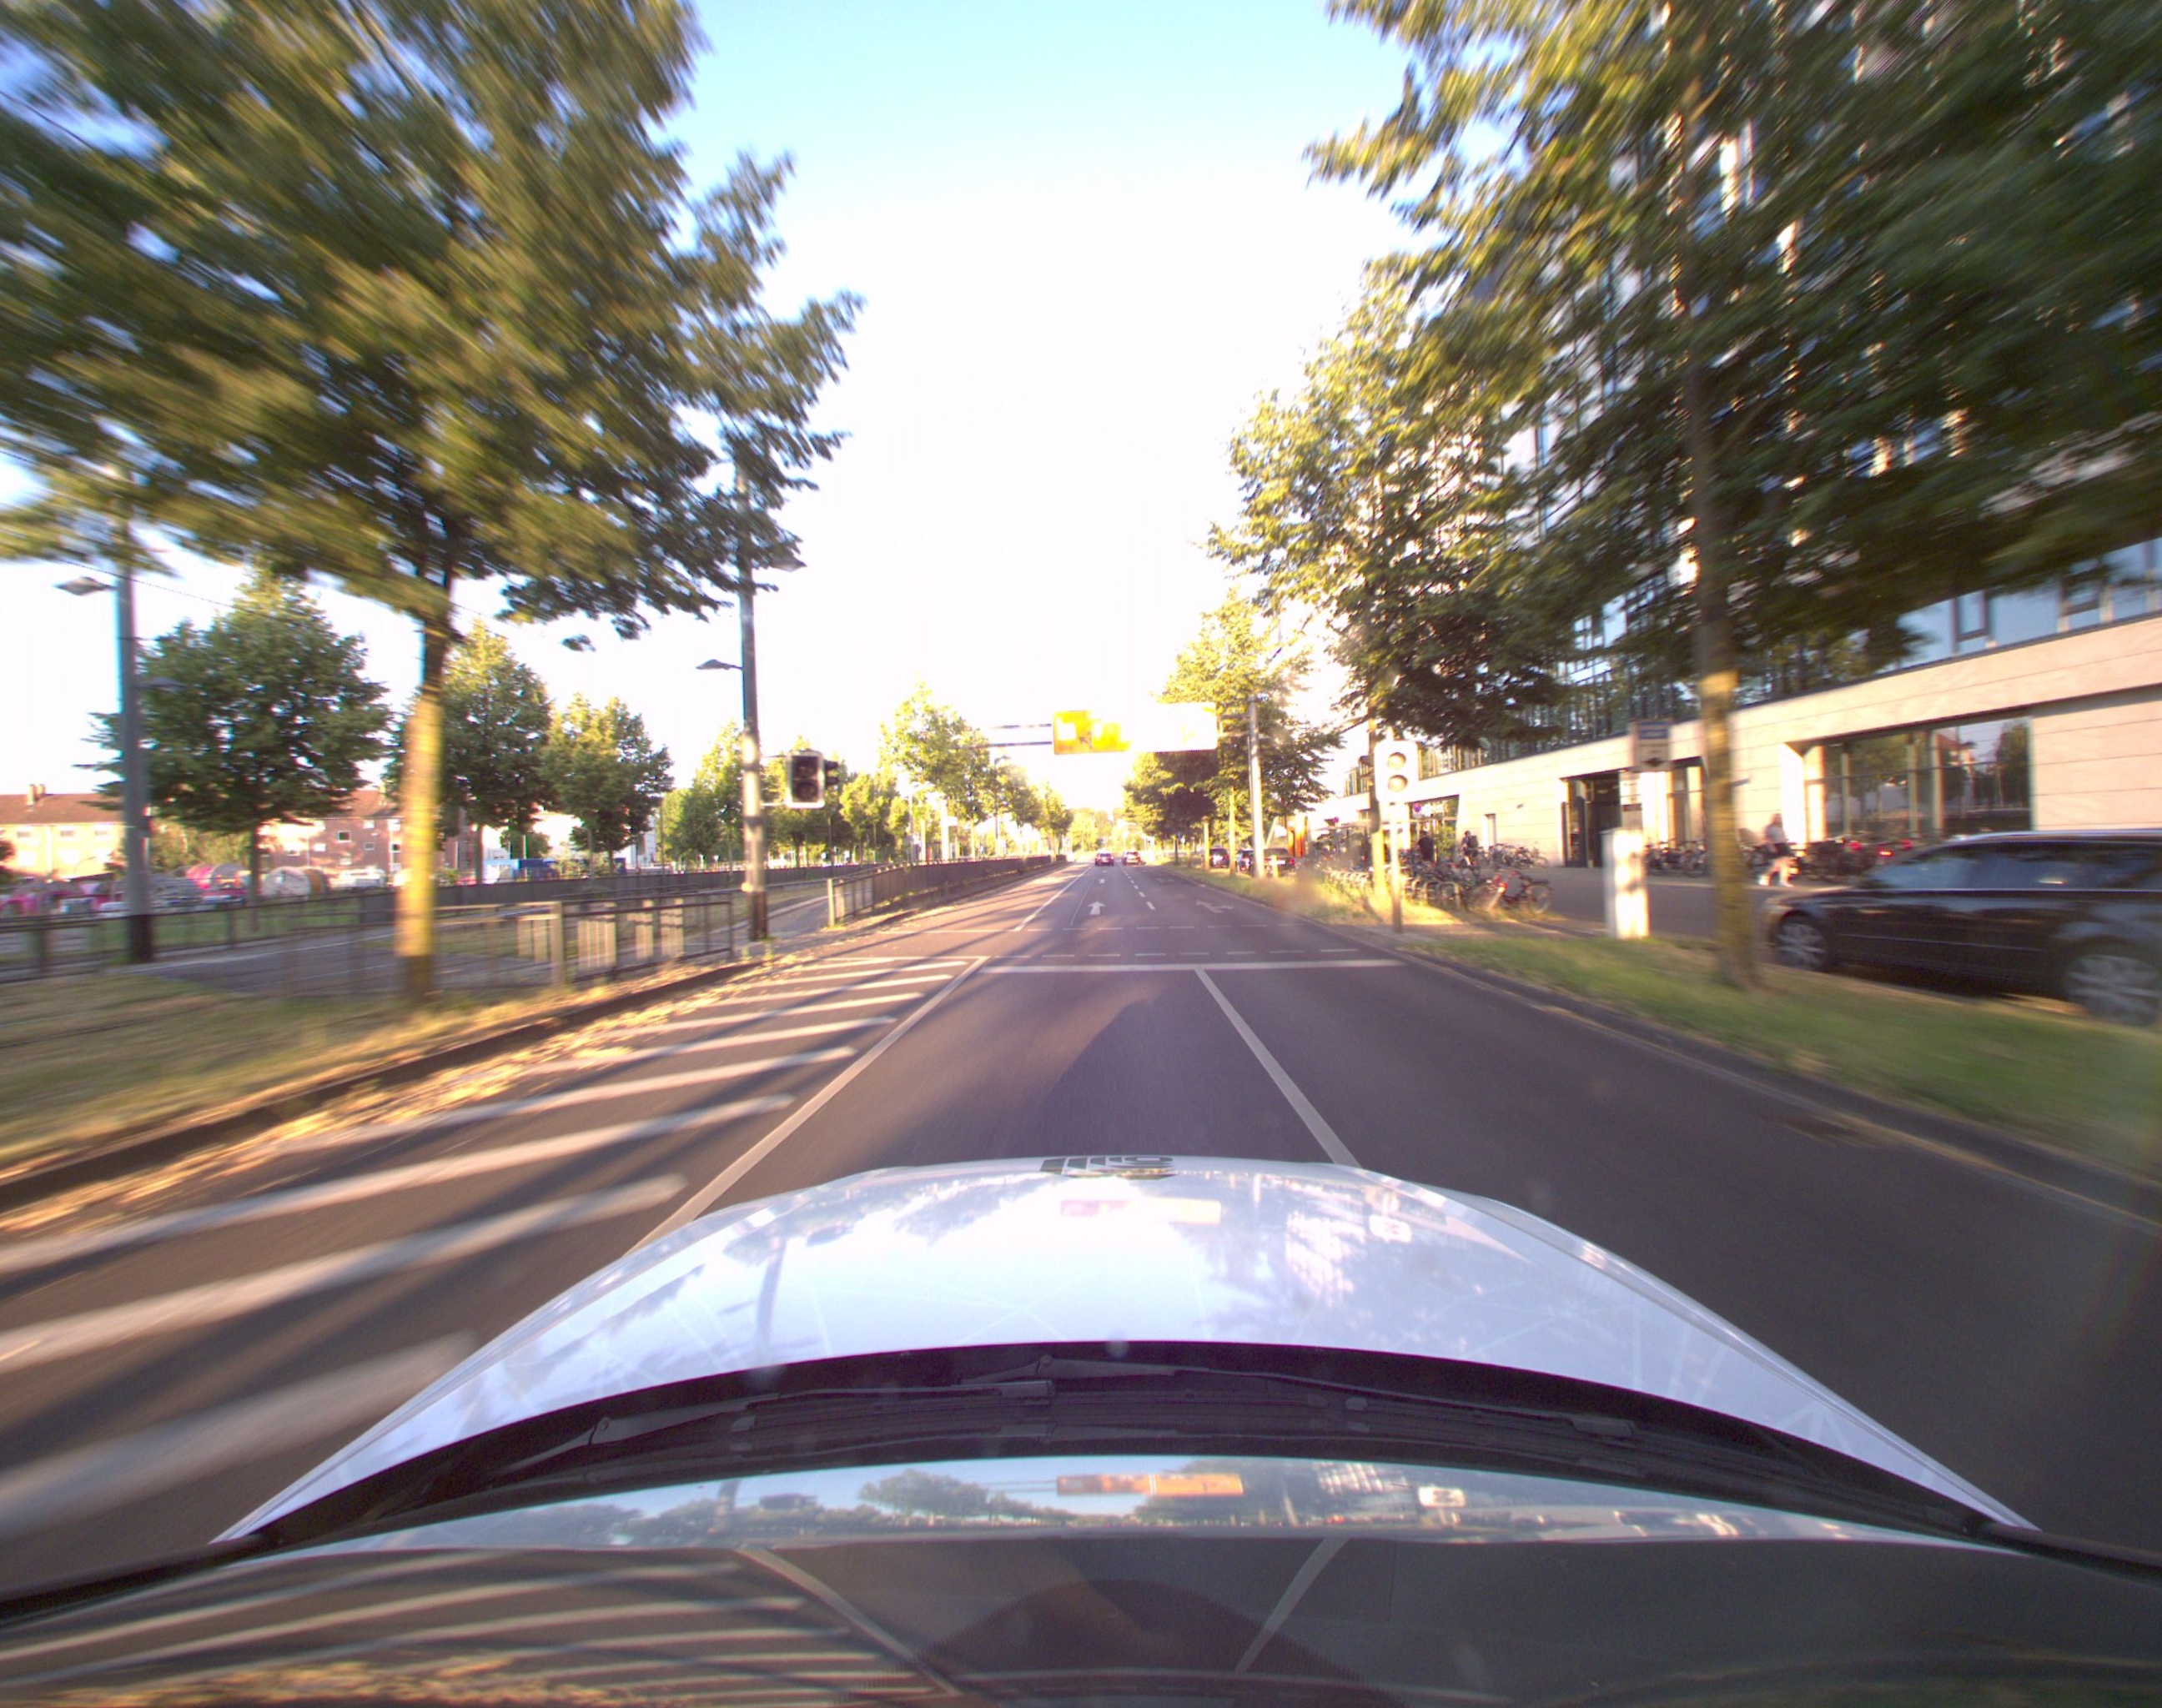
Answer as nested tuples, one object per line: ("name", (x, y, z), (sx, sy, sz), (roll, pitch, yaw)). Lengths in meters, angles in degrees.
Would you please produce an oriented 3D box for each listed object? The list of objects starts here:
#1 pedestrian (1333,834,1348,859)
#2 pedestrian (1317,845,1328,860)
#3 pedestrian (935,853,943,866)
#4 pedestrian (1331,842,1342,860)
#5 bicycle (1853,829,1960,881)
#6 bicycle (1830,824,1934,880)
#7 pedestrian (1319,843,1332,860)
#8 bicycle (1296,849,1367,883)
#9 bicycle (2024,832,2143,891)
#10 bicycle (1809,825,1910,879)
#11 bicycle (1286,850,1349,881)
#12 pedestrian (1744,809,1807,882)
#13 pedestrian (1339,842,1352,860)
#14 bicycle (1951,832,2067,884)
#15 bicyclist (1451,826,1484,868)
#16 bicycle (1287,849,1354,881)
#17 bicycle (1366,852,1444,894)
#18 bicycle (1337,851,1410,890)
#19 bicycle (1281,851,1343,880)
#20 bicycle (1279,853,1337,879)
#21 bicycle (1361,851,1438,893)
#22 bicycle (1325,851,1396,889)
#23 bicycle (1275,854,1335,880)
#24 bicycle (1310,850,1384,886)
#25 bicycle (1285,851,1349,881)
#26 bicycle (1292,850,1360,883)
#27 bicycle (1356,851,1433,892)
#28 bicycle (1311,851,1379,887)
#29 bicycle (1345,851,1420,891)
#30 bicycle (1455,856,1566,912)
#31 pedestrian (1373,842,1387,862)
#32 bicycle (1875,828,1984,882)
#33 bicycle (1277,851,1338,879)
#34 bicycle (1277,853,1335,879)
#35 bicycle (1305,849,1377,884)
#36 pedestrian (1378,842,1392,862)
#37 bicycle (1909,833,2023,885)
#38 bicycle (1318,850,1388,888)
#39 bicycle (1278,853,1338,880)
("pedestrian", (18.473, -0.557, 58.021), (0.707, 1.737, 0.683), (-2, 0, -29))
("pedestrian", (19.281, -0.139, 65.057), (0.569, 1.186, 0.862), (-2, 0, 3))
("pedestrian", (-14.513, 0.529, 83.292), (0.613, 1.319, 0.744), (-2, 0, -2))
("pedestrian", (19.255, -0.214, 61.434), (0.577, 1.282, 0.738), (-2, 0, -2))
("bicycle", (18.071, 0.016, 17.850), (1.823, 1.047, 0.446), (-2, 0, 2))
("bicycle", (18.051, -0.045, 18.365), (1.823, 1.177, 0.446), (-2, 0, 2))
("pedestrian", (18.523, -0.212, 61.758), (0.627, 1.282, 0.712), (-2, 0, -20))
("bicycle", (8.251, 0.385, 26.849), (2.139, 1.054, 0.570), (1, 0, -5))
("bicycle", (18.110, 0.128, 14.726), (1.569, 0.987, 0.404), (-2, 0, 2))
("bicycle", (18.027, -0.053, 18.874), (1.823, 1.177, 0.446), (-2, 0, 2))
("bicycle", (8.284, 0.398, 28.492), (2.139, 1.054, 0.300), (1, 0, -5))
("pedestrian", (16.337, -0.204, 19.174), (0.640, 1.648, 0.953), (-2, 0, 1))
("pedestrian", (19.983, -0.223, 61.445), (0.580, 1.282, 0.735), (-2, 0, -17))
("bicycle", (18.159, 0.079, 15.952), (1.737, 0.953, 0.404), (-2, 0, 2))
("bicyclist", (14.920, -0.285, 31.465), (0.769, 1.566, 0.992), (-2, 0, -1))
("bicycle", (8.241, 0.383, 28.030), (2.139, 1.054, 0.524), (1, 0, -5))
("bicycle", (8.373, 0.490, 21.065), (1.939, 1.054, 0.314), (1, 0, -6))
("bicycle", (8.283, 0.466, 23.086), (1.939, 1.054, 0.413), (1, 0, -6))
("bicycle", (8.327, 0.410, 29.390), (2.139, 0.973, 0.442), (1, 0, -5))
("bicycle", (8.907, 0.473, 31.996), (2.139, 0.939, 0.544), (1, 0, -5))
("bicycle", (8.381, 0.482, 21.426), (1.939, 1.054, 0.347), (1, 0, -6))
("bicycle", (8.133, 0.457, 23.737), (1.936, 1.054, 0.404), (1, 0, -2))
("bicycle", (8.335, 0.483, 30.342), (2.139, 0.939, 0.451), (1, 0, -5))
("bicycle", (8.325, 0.443, 25.492), (2.139, 1.054, 0.570), (1, 0, -5))
("bicycle", (8.376, 0.419, 28.911), (2.139, 0.986, 0.442), (1, 0, -5))
("bicycle", (8.264, 0.404, 27.459), (2.139, 1.054, 0.524), (1, 0, -5))
("bicycle", (8.417, 0.474, 21.901), (1.939, 1.054, 0.413), (1, 0, -6))
("bicycle", (8.004, 0.457, 24.708), (1.938, 1.054, 0.404), (1, 0, -5))
("bicycle", (8.346, 0.474, 22.544), (1.939, 1.054, 0.413), (1, 0, -6))
("bicycle", (8.593, 0.591, 16.328), (1.935, 1.054, 0.545), (1, 0, 1))
("pedestrian", (18.662, -0.122, 50.786), (0.569, 1.195, 0.807), (-2, 0, 2))
("bicycle", (18.080, 0.019, 17.363), (1.823, 1.057, 0.404), (-2, 0, 2))
("bicycle", (8.308, 0.399, 29.864), (2.139, 0.939, 0.442), (1, 0, -6))
("bicycle", (8.681, 0.460, 31.475), (2.139, 0.939, 0.442), (1, 0, -5))
("bicycle", (8.368, 0.396, 26.232), (2.139, 1.054, 0.561), (1, 0, -5))
("pedestrian", (18.600, -0.106, 49.844), (0.569, 1.195, 0.807), (-2, 0, 4))
("bicycle", (18.104, 0.097, 16.681), (1.823, 0.987, 0.404), (-2, 0, 2))
("bicycle", (8.086, 0.443, 24.218), (1.938, 1.054, 0.404), (1, 0, -5))
("bicycle", (8.568, 0.470, 30.714), (2.139, 0.939, 0.442), (1, 0, -5))
